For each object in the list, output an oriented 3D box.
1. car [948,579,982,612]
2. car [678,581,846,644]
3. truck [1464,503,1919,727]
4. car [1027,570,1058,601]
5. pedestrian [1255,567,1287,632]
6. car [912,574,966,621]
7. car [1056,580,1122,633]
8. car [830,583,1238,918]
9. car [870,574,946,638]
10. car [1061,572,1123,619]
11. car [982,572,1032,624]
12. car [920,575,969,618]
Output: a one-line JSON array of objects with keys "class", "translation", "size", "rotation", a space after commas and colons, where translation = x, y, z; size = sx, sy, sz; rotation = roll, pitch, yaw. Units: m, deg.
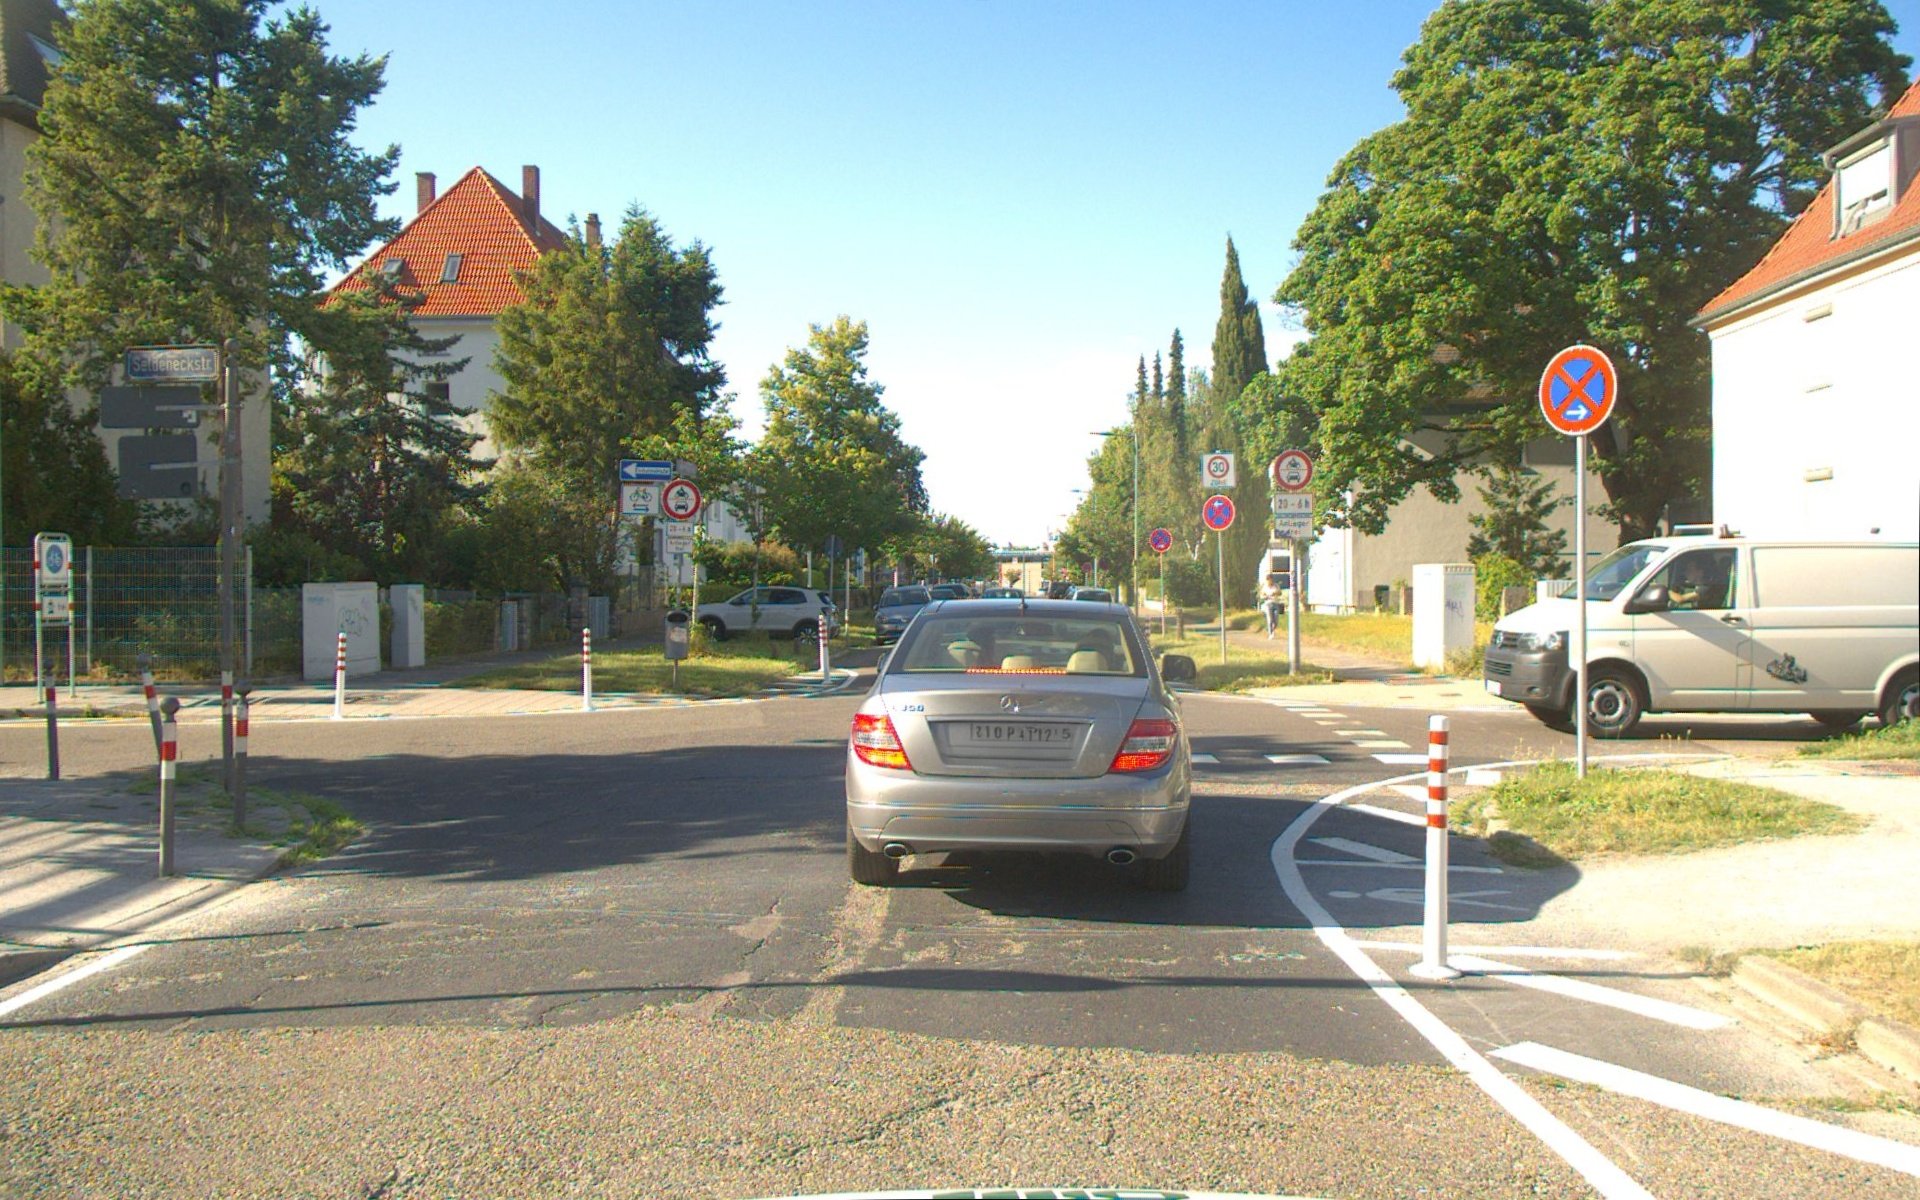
[{"class": "car", "translation": [0.276, -0.281, 90.713], "size": [1.699, 1.637, 3.935], "rotation": [-4, 1, 0]}, {"class": "car", "translation": [-5.059, 0.302, 42.689], "size": [4.107, 1.591, 1.842], "rotation": [0, 0, -1]}, {"class": "truck", "translation": [7.775, 0.122, 16.723], "size": [4.757, 2.071, 2.001], "rotation": [-1, 1, 2]}, {"class": "car", "translation": [5.258, -0.950, 105.636], "size": [1.816, 1.873, 4.001], "rotation": [-1, 1, 2]}, {"class": "pedestrian", "translation": [8.013, -0.010, 42.624], "size": [0.750, 1.639, 0.835], "rotation": [-1, 0, 7]}, {"class": "car", "translation": [-0.804, -0.125, 65.522], "size": [1.953, 1.637, 4.000], "rotation": [-4, 1, 0]}, {"class": "car", "translation": [3.850, 0.155, 49.855], "size": [1.698, 1.505, 3.725], "rotation": [-1, 1, 0]}, {"class": "car", "translation": [0.438, 0.639, 9.298], "size": [1.797, 1.466, 4.002], "rotation": [0, 1, 3]}, {"class": "car", "translation": [-1.461, 0.130, 47.719], "size": [1.953, 1.637, 4.000], "rotation": [-4, 1, 0]}, {"class": "car", "translation": [4.786, -0.189, 60.636], "size": [1.953, 1.638, 4.000], "rotation": [-1, 1, 0]}, {"class": "car", "translation": [1.541, -0.093, 55.248], "size": [1.564, 1.638, 3.644], "rotation": [-1, 1, 0]}, {"class": "car", "translation": [-0.640, -0.180, 71.315], "size": [1.953, 1.637, 4.000], "rotation": [-4, 1, 0]}]
